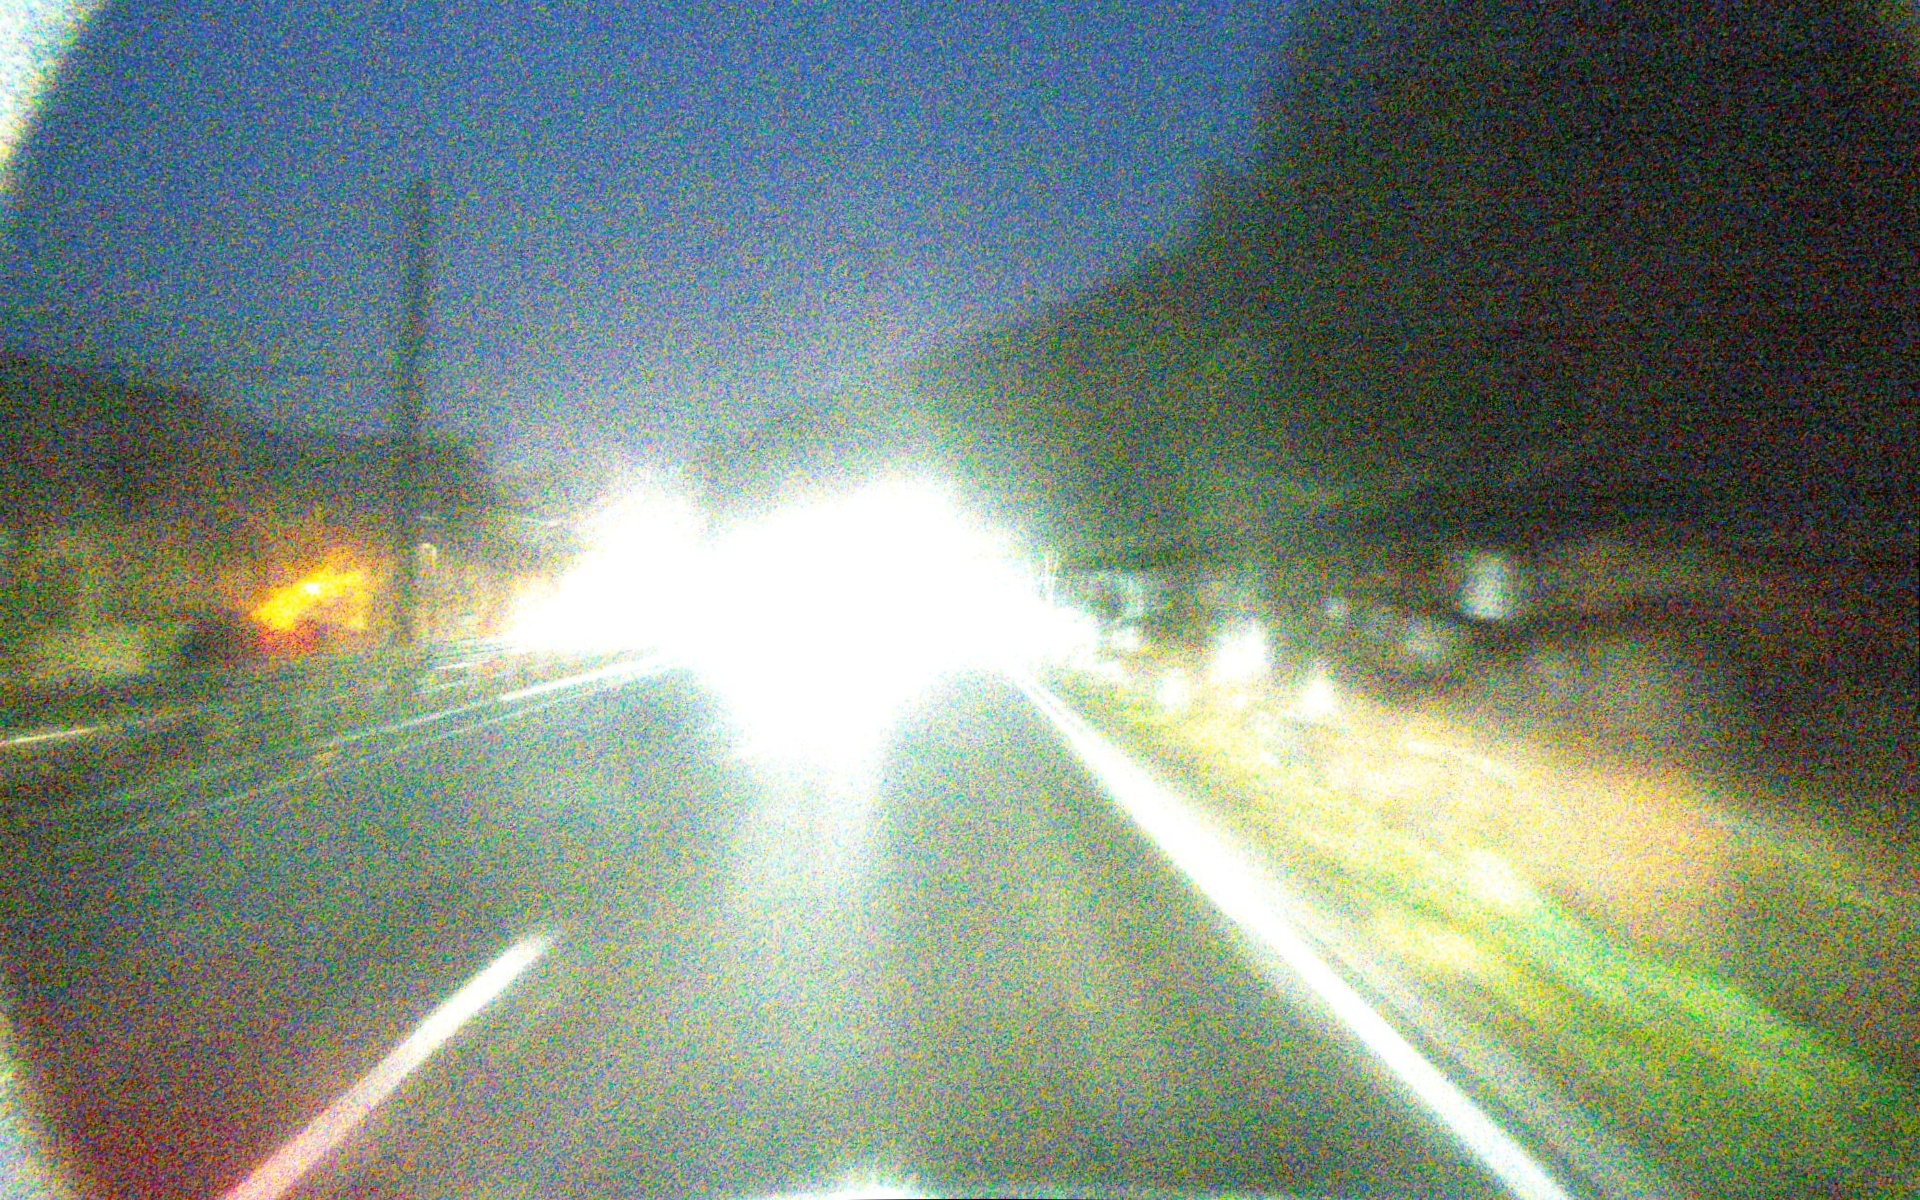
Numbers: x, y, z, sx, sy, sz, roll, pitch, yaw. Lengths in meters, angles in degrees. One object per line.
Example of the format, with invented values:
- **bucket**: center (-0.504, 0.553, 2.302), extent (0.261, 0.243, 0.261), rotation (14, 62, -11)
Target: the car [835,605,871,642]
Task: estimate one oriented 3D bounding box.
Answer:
- **car**: center (-6.471, 1.457, 100.104), extent (1.954, 2.049, 3.997), rotation (4, -2, -3)
